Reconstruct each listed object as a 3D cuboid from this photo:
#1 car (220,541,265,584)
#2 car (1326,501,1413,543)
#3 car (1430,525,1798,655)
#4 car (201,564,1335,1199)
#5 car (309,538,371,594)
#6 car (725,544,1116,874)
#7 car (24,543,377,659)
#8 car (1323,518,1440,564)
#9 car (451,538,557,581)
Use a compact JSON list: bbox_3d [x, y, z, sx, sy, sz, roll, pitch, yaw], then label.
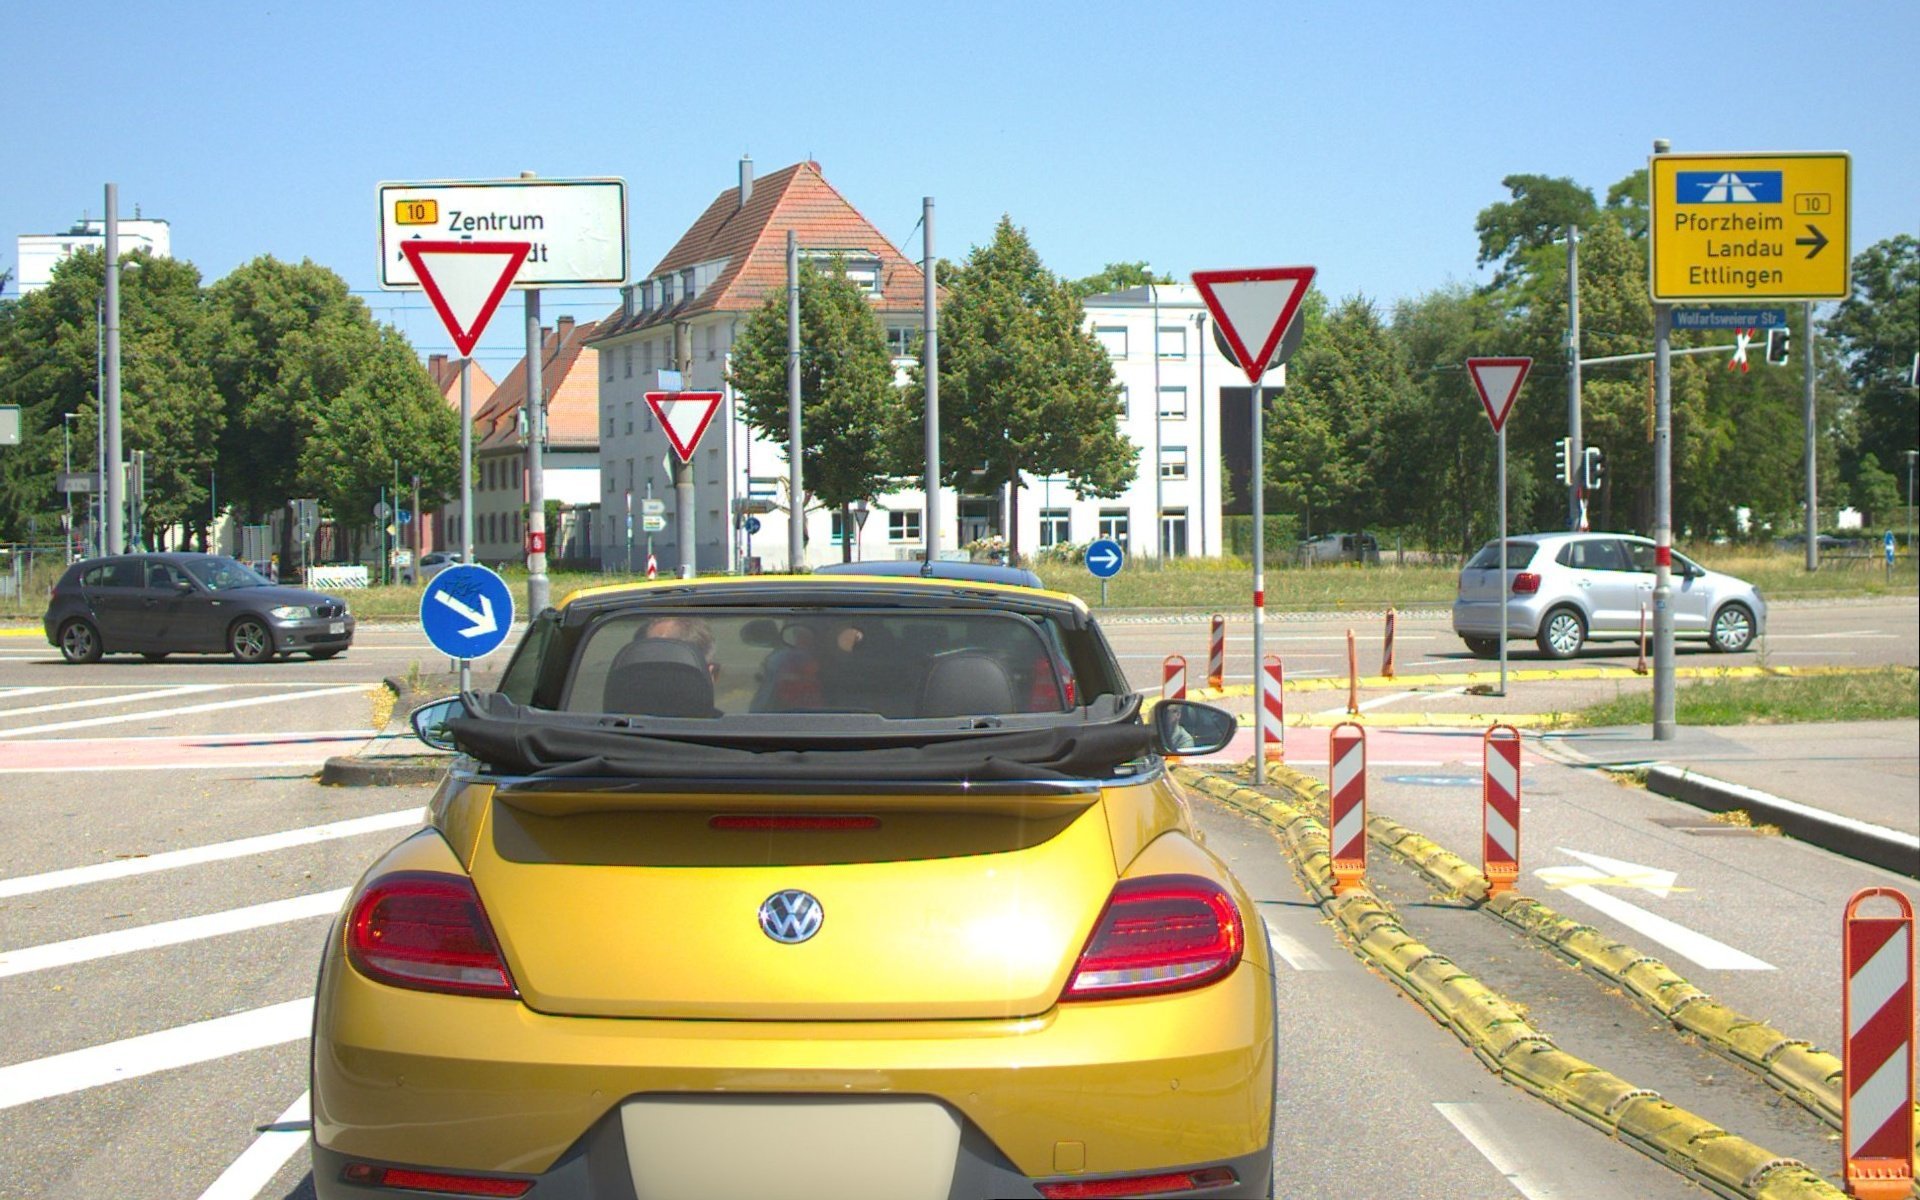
[{"bbox_3d":[-34.691,-1.810,166.247,1.993,2.007,4.001,1,1,-13],"label":"car"},{"bbox_3d":[20.131,-3.831,169.044,3.990,2.007,1.999,1,0,15],"label":"car"},{"bbox_3d":[7.722,-0.141,40.547,3.986,1.417,1.782,-1,1,-26],"label":"car"},{"bbox_3d":[-0.332,0.649,7.390,1.825,1.398,3.662,0,1,-1],"label":"car"},{"bbox_3d":[-22.773,-1.251,126.136,1.993,2.007,4.001,1,1,-13],"label":"car"},{"bbox_3d":[-0.153,0.474,17.861,1.797,1.435,4.000,0,2,1],"label":"car"},{"bbox_3d":[-9.717,0.001,44.017,4.071,1.398,1.752,0,2,19],"label":"car"},{"bbox_3d":[16.148,-2.246,131.885,3.986,1.678,2.001,1,0,-13],"label":"car"},{"bbox_3d":[-17.973,-1.605,135.598,3.986,1.612,2.000,1,0,-4],"label":"car"}]
